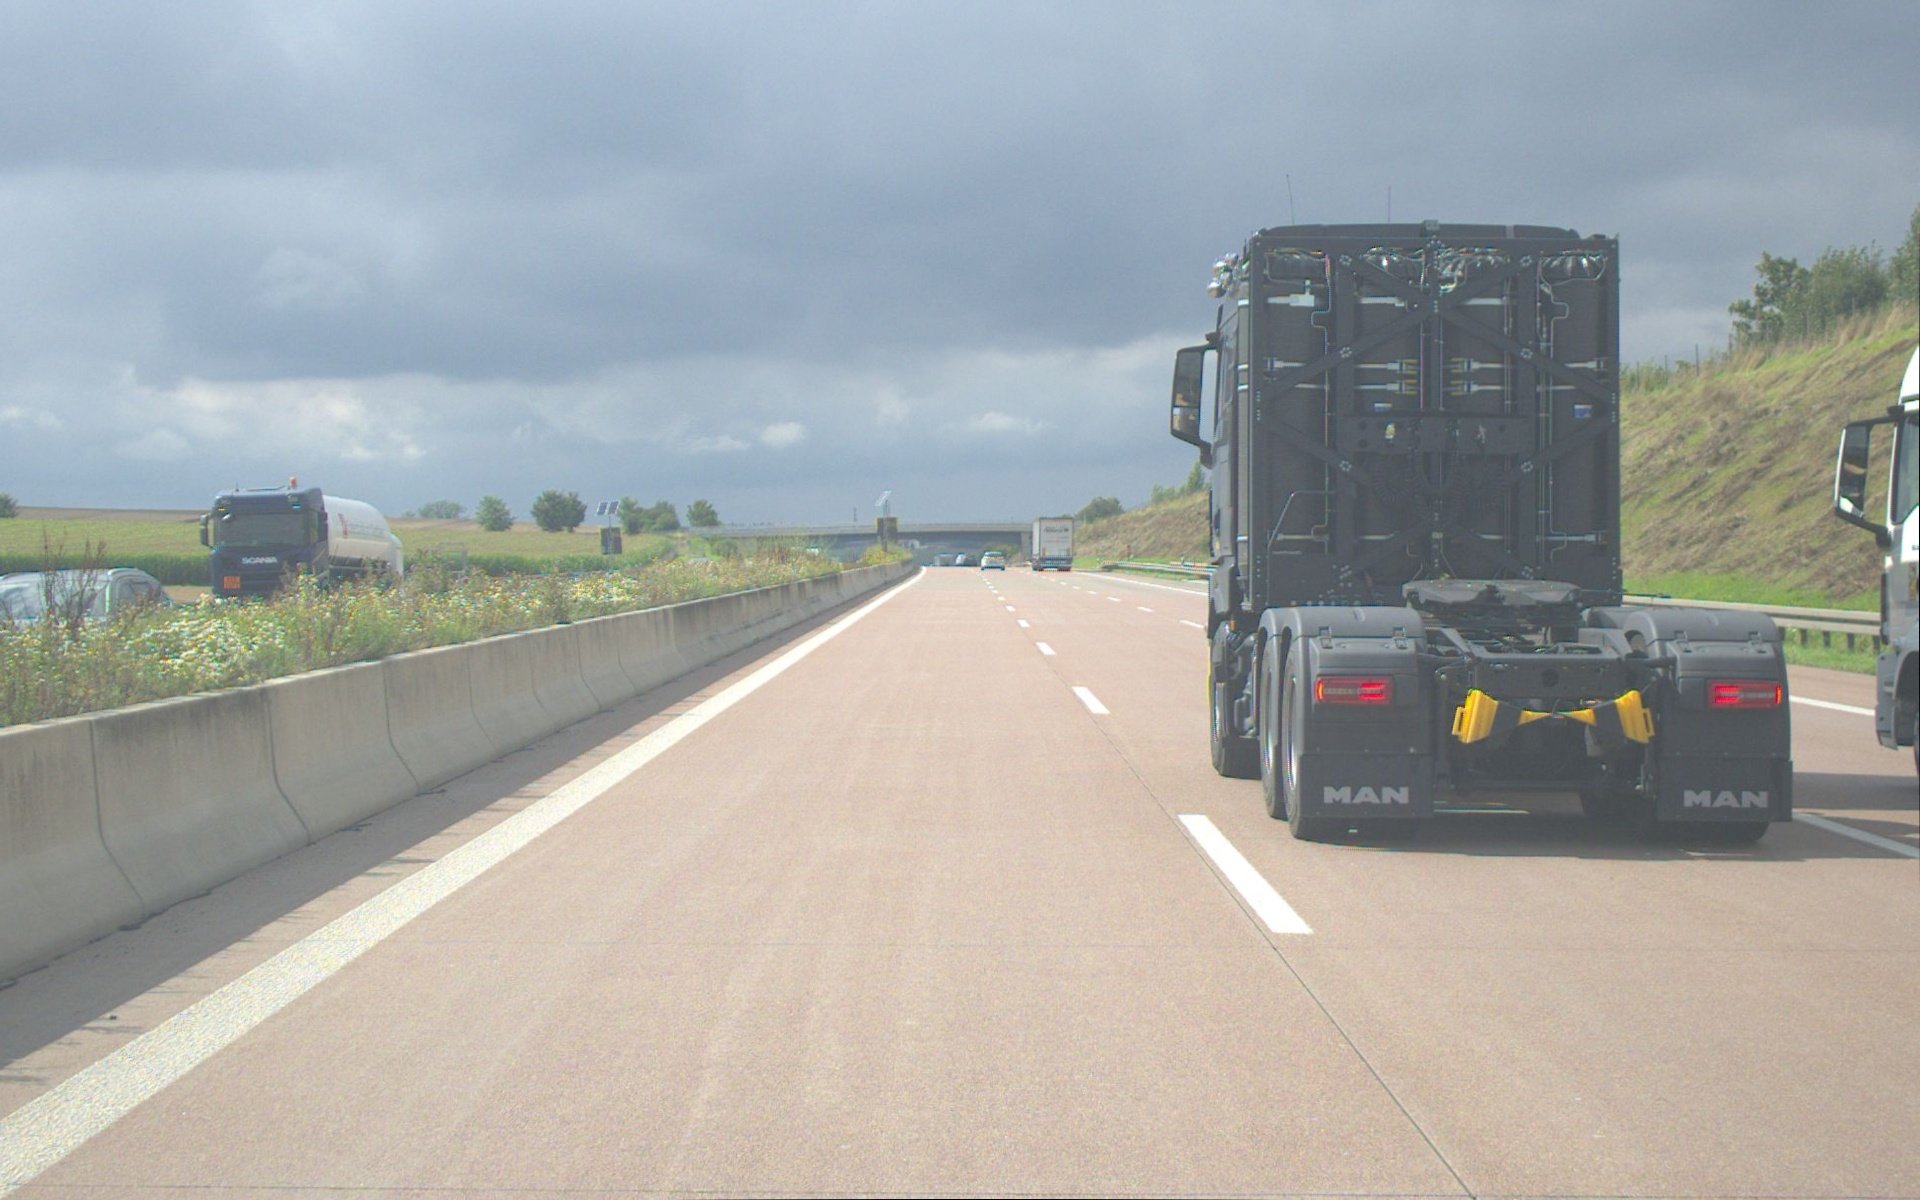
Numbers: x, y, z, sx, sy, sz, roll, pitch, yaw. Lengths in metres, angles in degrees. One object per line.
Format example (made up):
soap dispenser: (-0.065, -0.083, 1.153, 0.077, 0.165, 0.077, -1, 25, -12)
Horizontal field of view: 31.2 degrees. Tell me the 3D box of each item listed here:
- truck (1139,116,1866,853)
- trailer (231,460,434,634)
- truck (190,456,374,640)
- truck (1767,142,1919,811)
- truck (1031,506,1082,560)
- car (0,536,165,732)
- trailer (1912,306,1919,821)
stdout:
truck: (2.853, -0.607, 20.862, 2.847, 3.537, 8.320, 1, 1, -1)
trailer: (-15.958, -1.385, 88.290, 2.892, 4.084, 11.037, -2, 1, 1)
truck: (-16.051, -1.252, 81.826, 2.892, 4.084, 6.335, -2, 1, 1)
truck: (6.906, -0.718, 20.910, 2.748, 3.878, 4.546, 1, 1, -2)
truck: (7.303, -5.139, 261.896, 3.617, 3.932, 11.174, 1, 1, 1)
car: (-8.994, 0.275, 32.228, 1.993, 1.693, 4.599, -2, 1, 0)
trailer: (7.066, -0.656, 15.676, 2.747, 3.998, 8.671, 1, 1, -2)
